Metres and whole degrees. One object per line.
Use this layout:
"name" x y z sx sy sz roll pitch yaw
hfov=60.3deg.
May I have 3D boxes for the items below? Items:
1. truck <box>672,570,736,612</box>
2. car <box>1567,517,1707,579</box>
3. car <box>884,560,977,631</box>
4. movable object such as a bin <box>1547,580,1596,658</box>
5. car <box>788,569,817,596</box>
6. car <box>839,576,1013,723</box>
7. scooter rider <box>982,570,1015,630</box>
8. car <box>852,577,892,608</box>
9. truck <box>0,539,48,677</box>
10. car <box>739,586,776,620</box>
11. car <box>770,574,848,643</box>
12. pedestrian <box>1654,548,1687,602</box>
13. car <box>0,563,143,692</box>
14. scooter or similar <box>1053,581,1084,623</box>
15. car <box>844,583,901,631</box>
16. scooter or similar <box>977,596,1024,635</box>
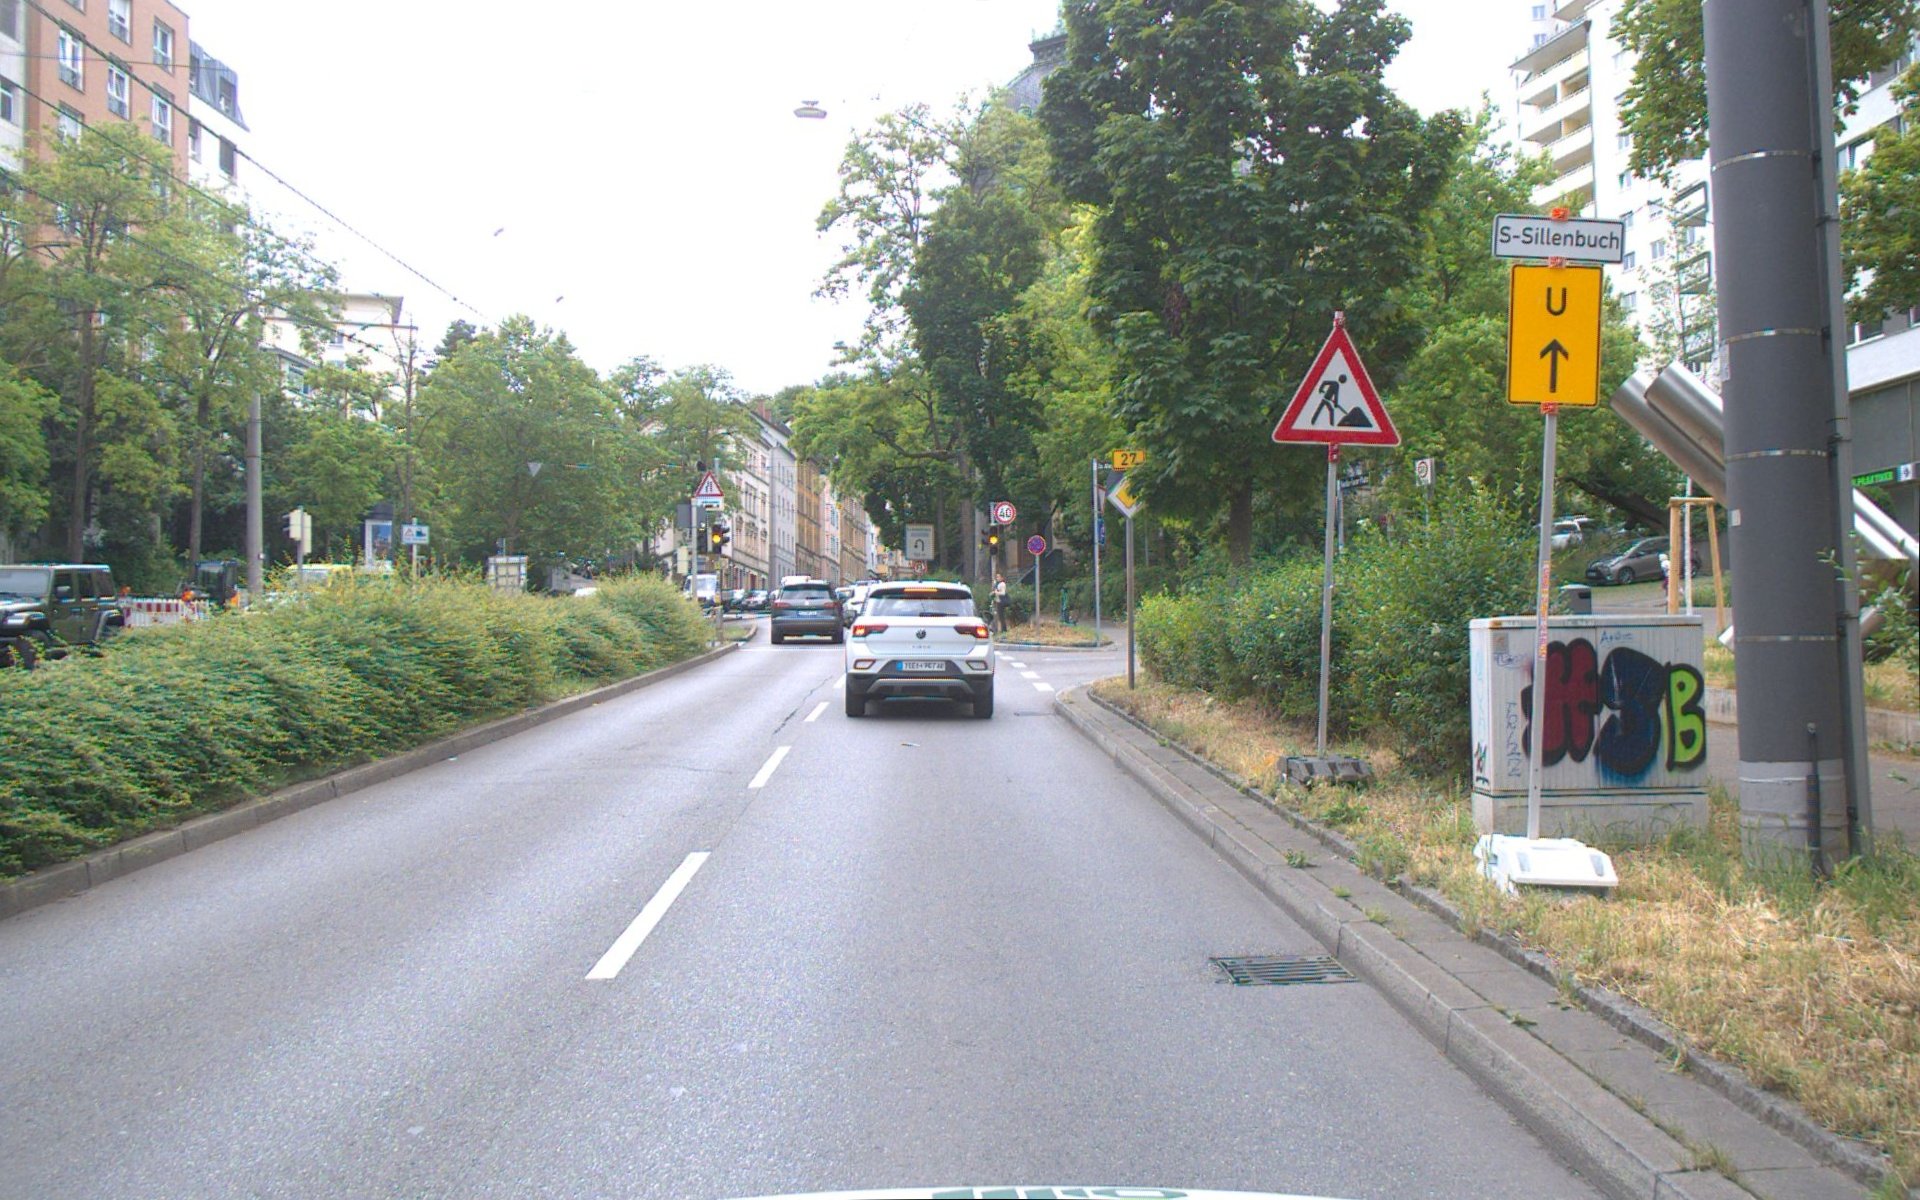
"truck" -14.797 -0.545 95.827 2.371 2.207 6.037 2 2 3
"car" 23.562 -1.803 57.664 4.053 2.049 1.996 -1 0 -9
"car" -0.795 -0.077 41.818 1.867 1.602 3.827 2 -2 -8
"movable object such as a bin" 8.910 0.271 24.121 0.483 1.113 0.565 -1 0 -1
"car" -12.292 -1.367 129.130 1.953 2.049 3.999 -1 0 -1
"car" -0.476 0.531 20.441 1.899 1.594 4.044 1 1 -3
"scooter rider" 1.030 0.001 44.710 0.763 1.585 0.531 -2 0 -10
"car" -6.455 -0.574 122.528 2.371 2.207 6.035 0 0 3
"truck" -19.127 0.090 28.613 2.858 2.554 7.150 -1 -2 -1
"car" -13.497 0.225 110.455 1.953 2.049 3.998 2 -2 -1
"car" -4.047 0.217 44.843 1.802 1.770 3.999 -1 0 -2
"pedestrian" 20.407 -0.719 47.510 0.551 1.526 0.672 -1 0 -27
"car" -15.143 0.413 26.766 1.862 1.909 4.637 1 0 -6
"scooter or similar" 3.121 0.055 47.661 0.465 1.119 1.364 -2 -3 -13
"car" -3.258 0.295 60.816 1.954 1.651 3.996 -1 -1 -5
"scooter or similar" 1.098 0.414 44.720 1.165 1.011 0.530 -2 0 -10
